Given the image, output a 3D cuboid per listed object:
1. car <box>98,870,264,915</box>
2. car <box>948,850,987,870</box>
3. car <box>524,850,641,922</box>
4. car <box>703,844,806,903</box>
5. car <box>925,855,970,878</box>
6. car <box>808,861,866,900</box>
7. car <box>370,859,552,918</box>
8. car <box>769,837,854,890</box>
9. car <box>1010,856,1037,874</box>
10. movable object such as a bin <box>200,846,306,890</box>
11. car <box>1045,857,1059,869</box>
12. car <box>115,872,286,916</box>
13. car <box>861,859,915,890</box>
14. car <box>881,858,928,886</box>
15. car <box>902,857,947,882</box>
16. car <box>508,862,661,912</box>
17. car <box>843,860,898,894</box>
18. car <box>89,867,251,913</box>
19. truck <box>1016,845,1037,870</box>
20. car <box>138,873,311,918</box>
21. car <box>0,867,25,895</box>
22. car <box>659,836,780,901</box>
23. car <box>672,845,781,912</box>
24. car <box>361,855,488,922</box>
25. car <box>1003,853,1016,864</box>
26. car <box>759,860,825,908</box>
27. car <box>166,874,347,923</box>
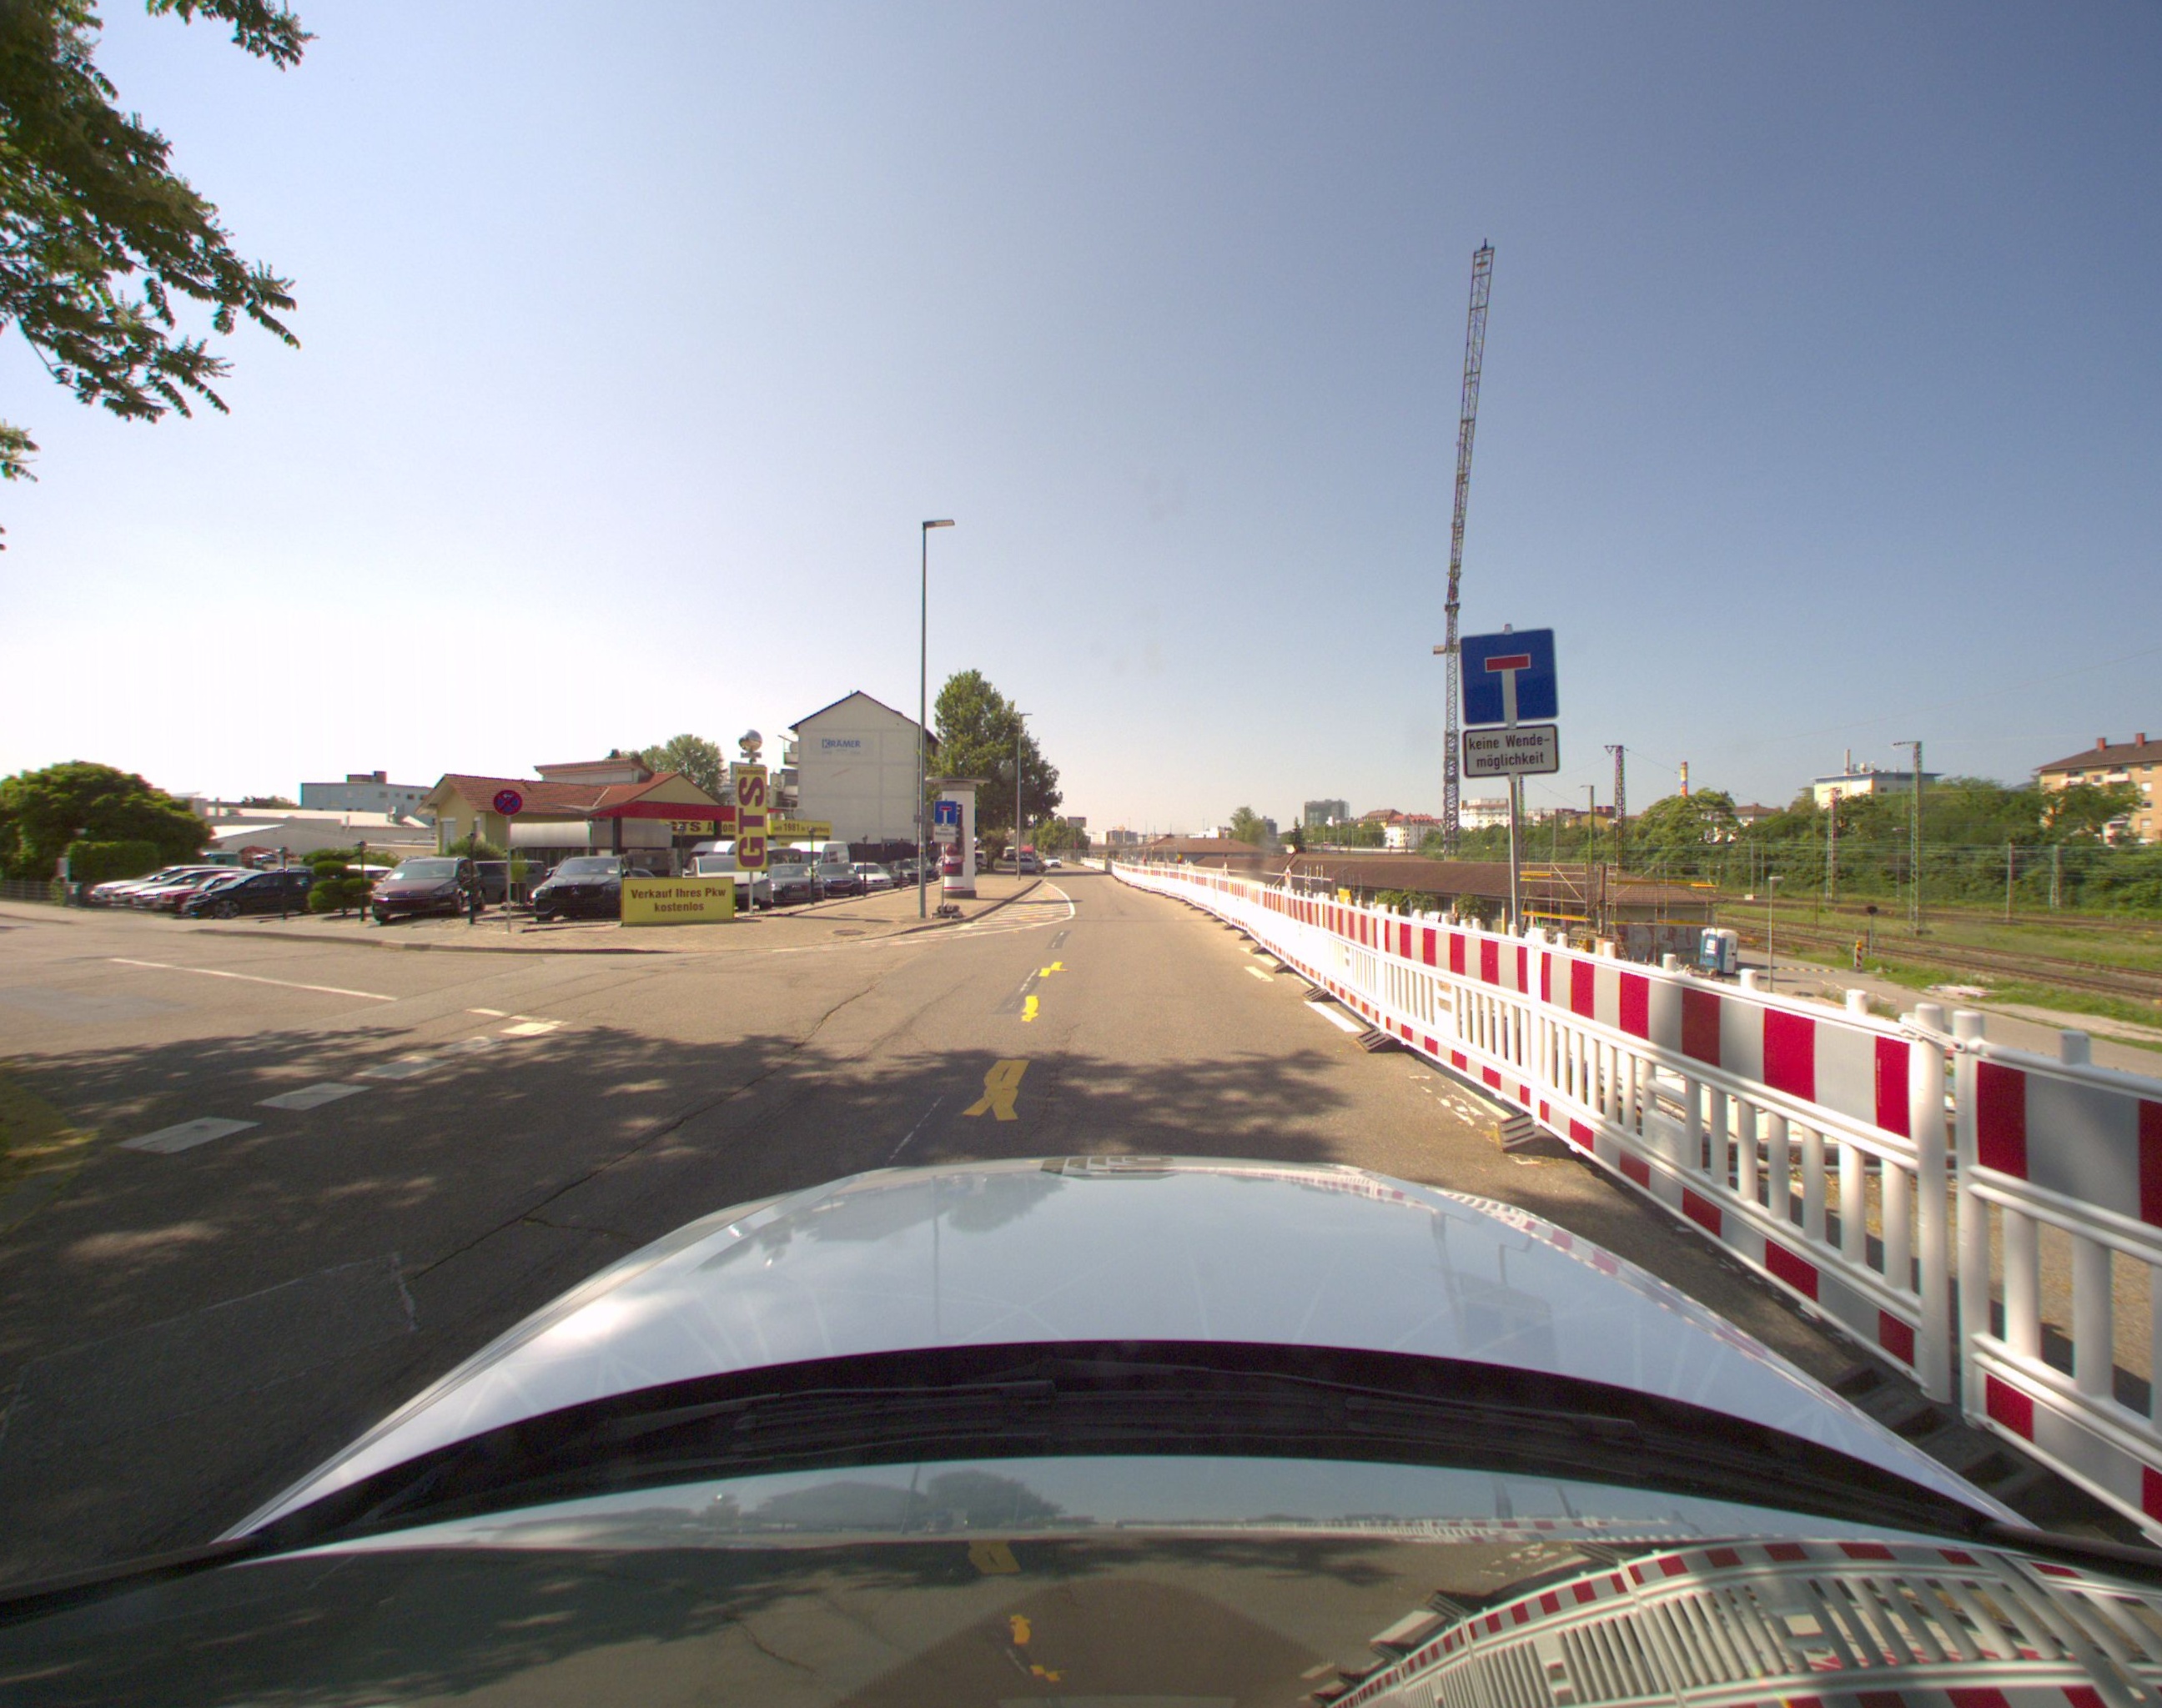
[{"bbox_3d":[-36.126,1.508,32.830,1.847,1.603,4.150,-1,0,26],"label":"car"},{"bbox_3d":[-11.685,0.651,83.749,3.920,1.959,1.754,1,0,-8],"label":"car"},{"bbox_3d":[-13.271,0.849,21.953,2.051,1.707,4.281,-1,-2,-23],"label":"car"},{"bbox_3d":[-13.862,0.841,34.961,2.236,2.350,4.828,-1,-2,4],"label":"car"},{"bbox_3d":[-9.296,0.889,56.472,1.787,1.473,3.963,-3,0,-28],"label":"car"},{"bbox_3d":[-10.271,1.071,34.134,1.844,1.473,3.968,-3,0,-24],"label":"car"},{"bbox_3d":[-21.523,1.143,28.465,4.916,1.842,2.138,0,-1,-38],"label":"car"},{"bbox_3d":[-13.606,0.521,41.596,2.238,2.430,5.718,3,-1,0],"label":"car"},{"bbox_3d":[-5.081,0.946,72.086,1.862,1.498,4.034,-1,1,2],"label":"car"},{"bbox_3d":[-57.257,0.929,56.411,1.974,2.907,4.864,-1,-1,32],"label":"movable object such as a bin"},{"bbox_3d":[-3.536,1.136,99.819,1.713,1.416,4.074,0,-1,-2],"label":"car"},{"bbox_3d":[-33.935,1.501,31.531,1.847,1.489,4.144,-1,0,26],"label":"car"},{"bbox_3d":[-10.385,1.093,43.654,1.678,1.473,3.960,-3,0,-31],"label":"car"},{"bbox_3d":[-10.525,1.063,48.347,1.677,1.473,3.963,-3,0,-28],"label":"car"},{"bbox_3d":[-10.224,1.030,53.009,1.677,1.473,3.963,-3,0,-29],"label":"car"},{"bbox_3d":[-17.480,1.090,29.020,1.895,1.575,4.703,0,0,13],"label":"car"},{"bbox_3d":[-10.308,1.099,39.656,1.789,1.473,3.965,-3,0,-26],"label":"car"},{"bbox_3d":[-38.196,1.465,34.269,1.868,1.750,4.196,-1,0,26],"label":"car"},{"bbox_3d":[-6.081,0.407,91.409,2.232,2.648,5.676,0,-1,-2],"label":"truck"},{"bbox_3d":[-31.875,1.483,30.449,1.776,1.489,4.082,-1,0,26],"label":"car"},{"bbox_3d":[-68.930,1.670,50.571,1.832,1.763,3.864,-1,-1,29],"label":"car"},{"bbox_3d":[-16.462,0.665,37.569,2.265,2.758,6.164,-1,-1,7],"label":"car"},{"bbox_3d":[-10.399,0.766,23.705,1.990,1.707,4.613,-2,-3,-35],"label":"car"},{"bbox_3d":[-18.332,0.897,22.982,1.814,1.656,4.278,-1,0,-26],"label":"car"},{"bbox_3d":[-13.009,0.901,148.649,1.929,1.834,3.925,3,-1,2],"label":"car"},{"bbox_3d":[-10.198,1.002,28.586,1.845,1.473,3.968,-3,0,-24],"label":"car"},{"bbox_3d":[-29.186,1.519,28.987,1.847,1.489,4.157,-1,0,26],"label":"car"}]
